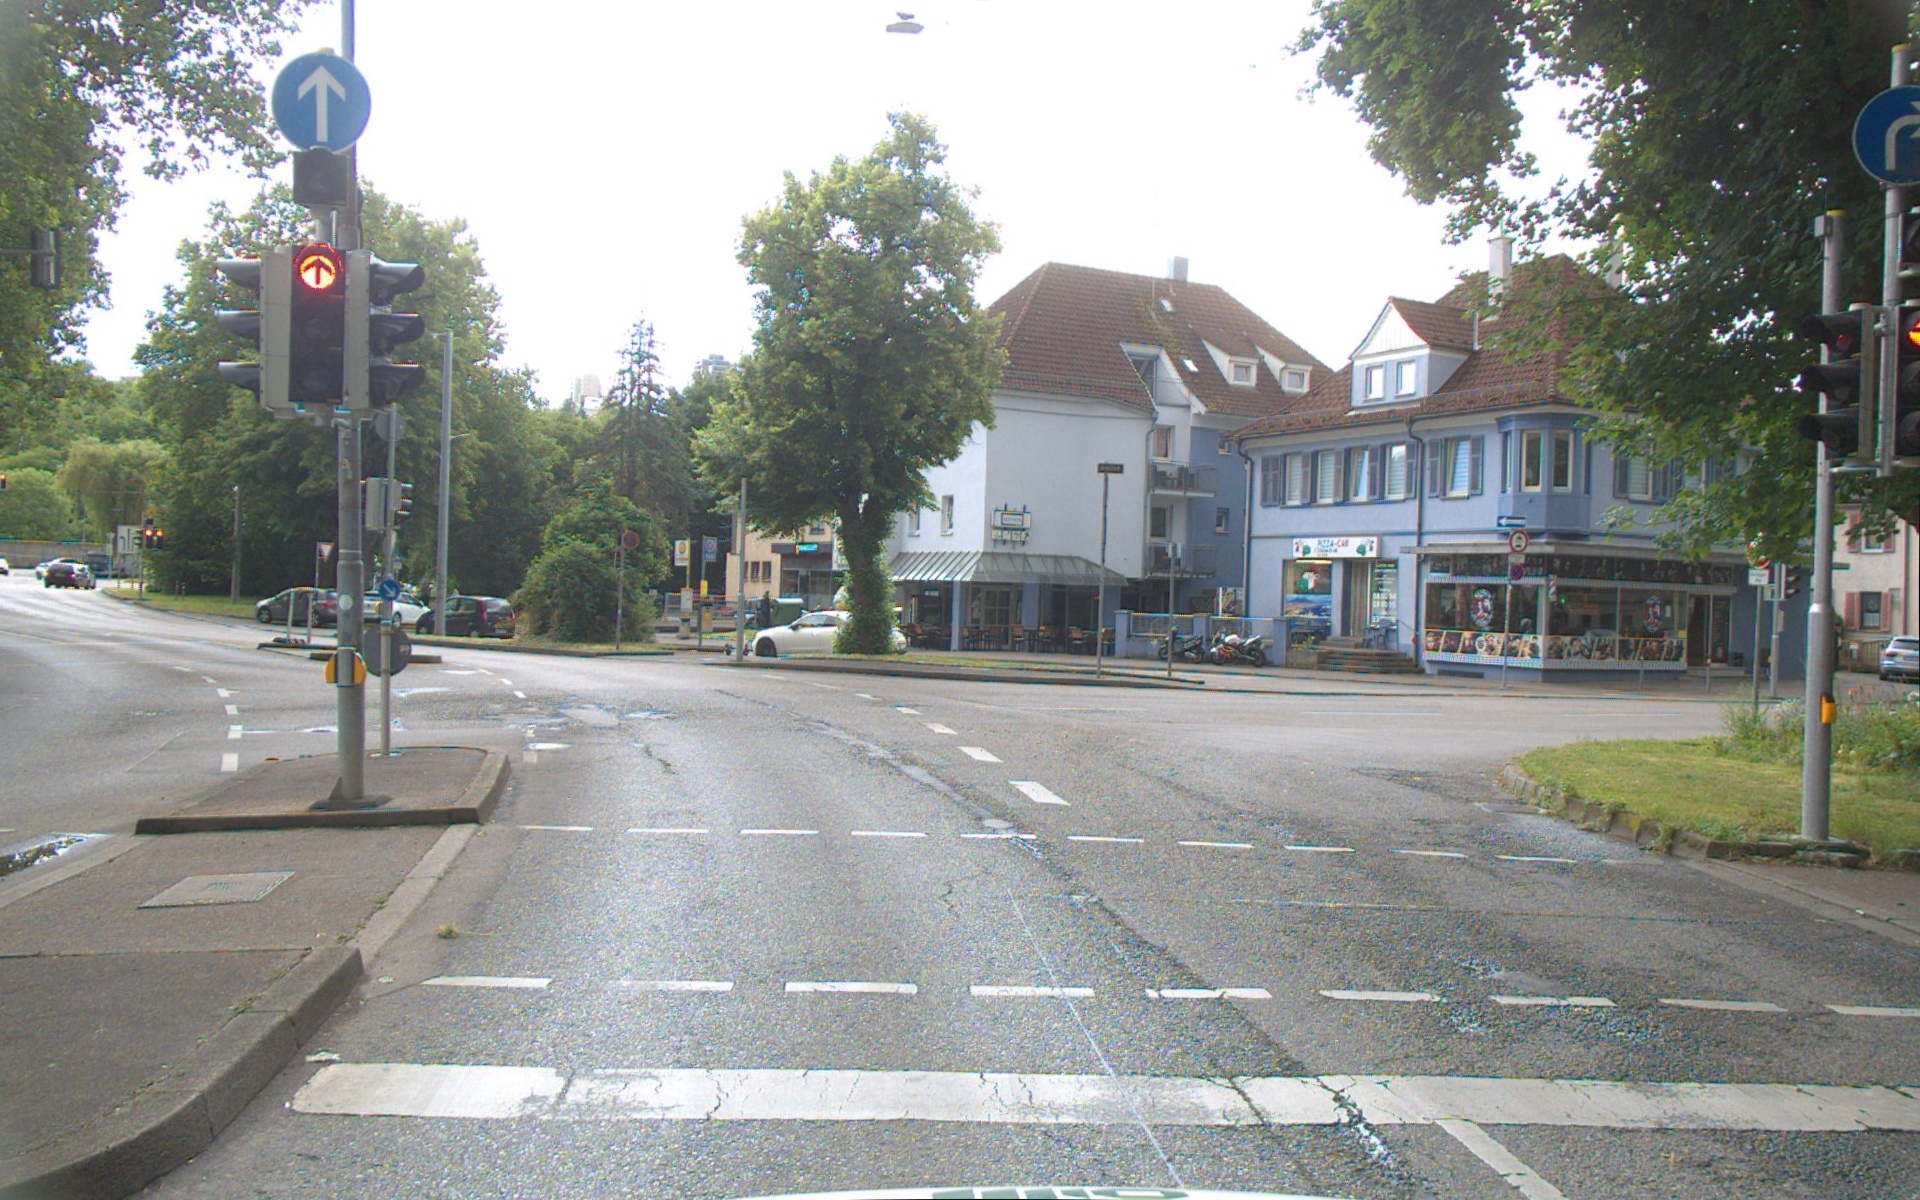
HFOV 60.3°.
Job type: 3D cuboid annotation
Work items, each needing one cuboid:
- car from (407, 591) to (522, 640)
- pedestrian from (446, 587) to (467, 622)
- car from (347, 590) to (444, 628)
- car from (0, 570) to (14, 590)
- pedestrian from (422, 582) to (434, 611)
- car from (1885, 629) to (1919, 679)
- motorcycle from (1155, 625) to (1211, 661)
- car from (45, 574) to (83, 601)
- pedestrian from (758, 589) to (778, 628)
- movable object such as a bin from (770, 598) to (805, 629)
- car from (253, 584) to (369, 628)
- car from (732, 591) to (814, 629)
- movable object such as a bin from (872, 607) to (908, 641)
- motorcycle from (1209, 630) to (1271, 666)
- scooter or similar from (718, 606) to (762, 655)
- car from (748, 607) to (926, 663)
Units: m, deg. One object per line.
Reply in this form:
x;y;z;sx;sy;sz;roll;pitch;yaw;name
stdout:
-16.006;0.489;53.383;3.416;1.428;1.571;2;0;28;car
-22.756;0.203;74.752;0.677;1.578;0.734;2;0;-32;pedestrian
-22.655;0.360;66.558;1.721;1.405;4.265;2;0;11;car
-85.086;-1.791;146.280;1.968;1.684;4.393;1;1;-25;car
-28.891;-0.183;89.792;0.503;1.558;0.772;2;-1;-23;pedestrian
29.731;1.665;51.563;1.537;1.488;3.433;2;0;29;car
6.752;1.290;50.156;1.695;1.049;0.487;1;0;42;motorcycle
-52.965;-0.739;97.756;1.804;1.535;4.527;1;0;-31;car
-8.629;0.387;74.361;0.680;1.760;0.605;1;-1;-32;pedestrian
-7.696;0.598;73.771;1.204;1.368;0.984;1;-1;-32;movable object such as a bin
-25.090;0.228;63.920;4.016;1.454;1.733;3;0;21;car
-8.541;0.473;75.618;3.371;1.659;1.611;1;0;-26;car
-2.995;1.005;70.437;1.197;1.419;1.153;1;0;-22;movable object such as a bin
8.197;1.392;48.436;1.791;1.003;0.518;1;-1;43;motorcycle
-5.672;0.788;42.615;0.403;1.187;1.361;1;-3;25;scooter or similar
-3.417;0.946;45.701;4.689;1.411;1.994;1;0;34;car
